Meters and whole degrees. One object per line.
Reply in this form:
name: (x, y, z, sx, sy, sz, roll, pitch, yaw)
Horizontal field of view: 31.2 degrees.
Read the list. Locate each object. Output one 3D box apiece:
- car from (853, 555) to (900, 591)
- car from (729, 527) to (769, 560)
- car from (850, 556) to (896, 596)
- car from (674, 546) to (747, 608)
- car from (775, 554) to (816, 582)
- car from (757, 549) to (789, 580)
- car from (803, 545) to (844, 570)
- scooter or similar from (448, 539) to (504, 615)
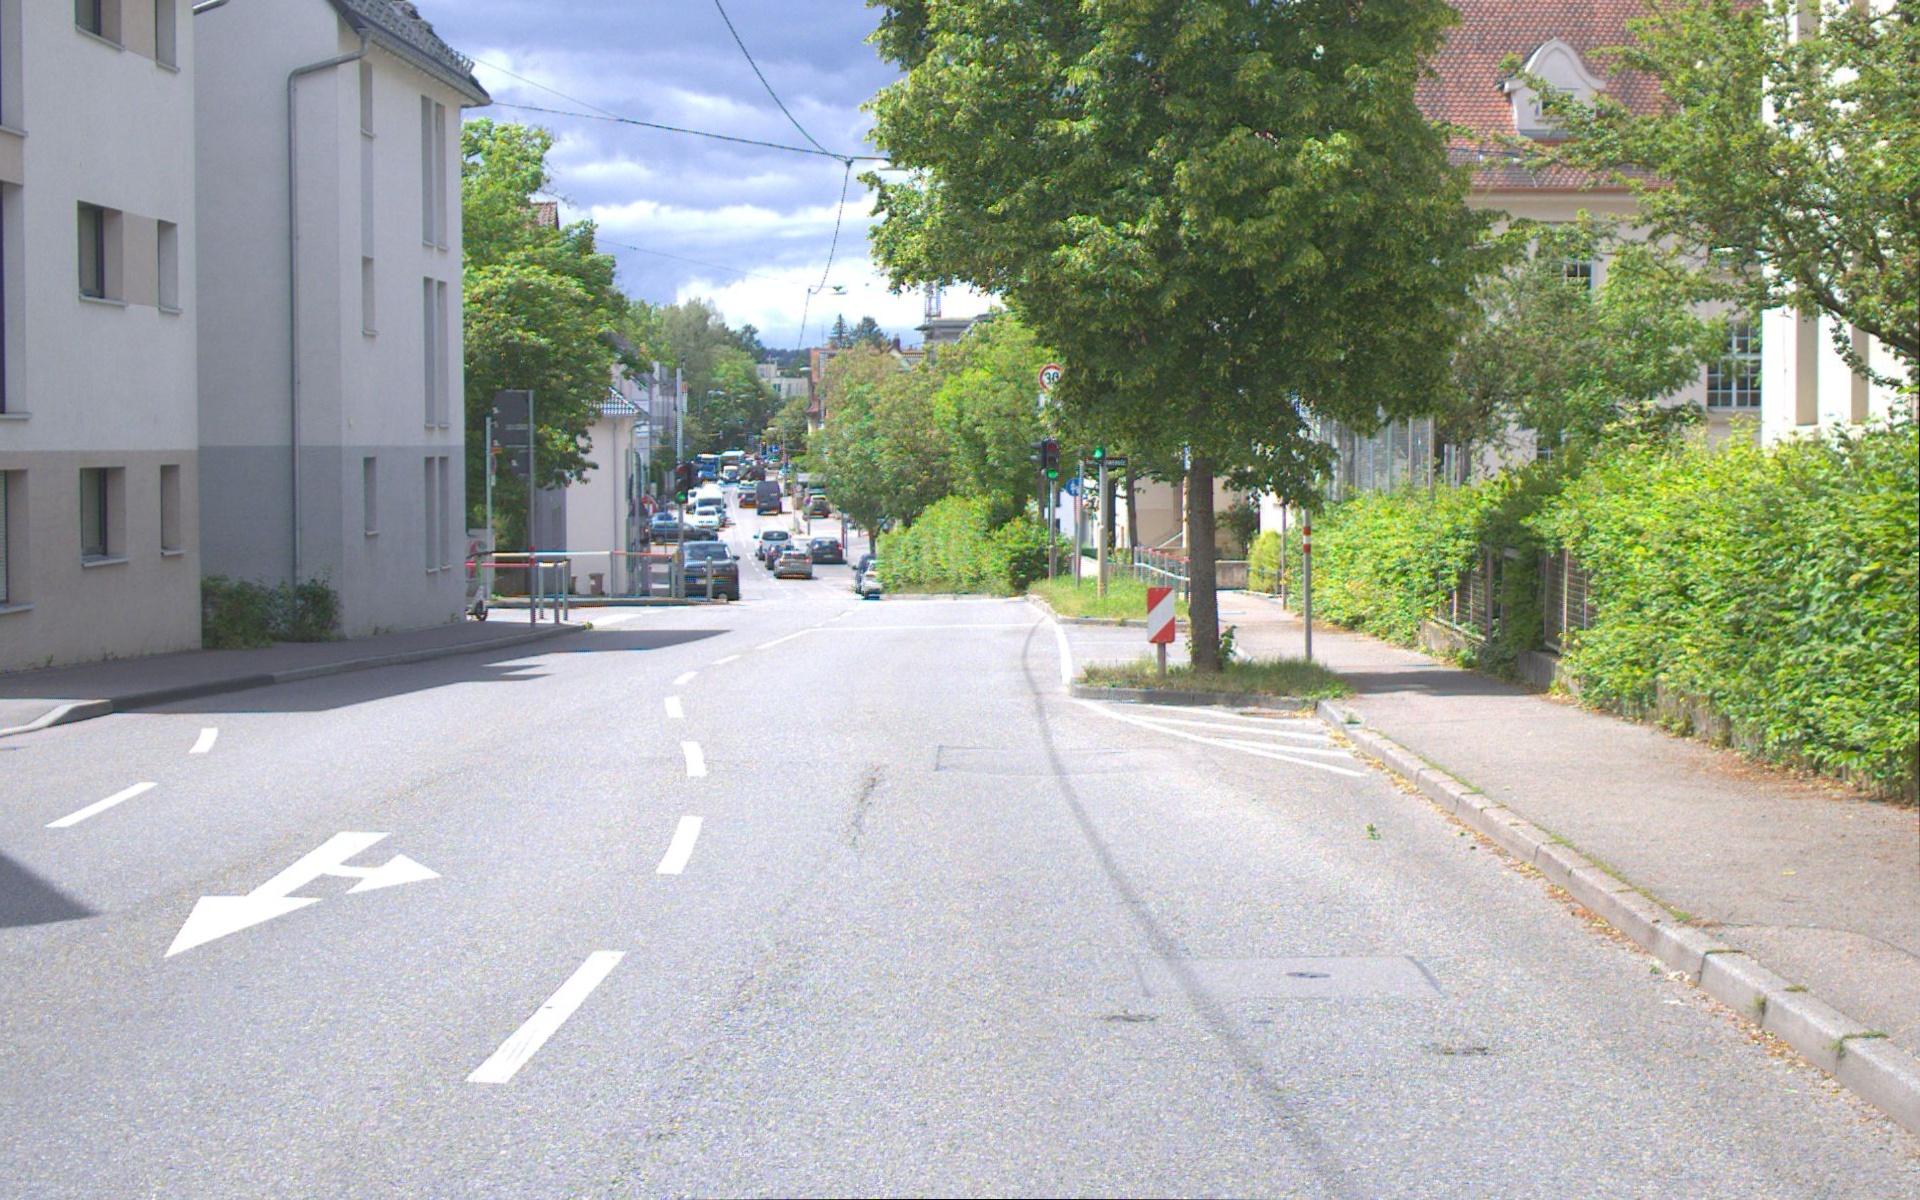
car: (-3.643, -1.178, 149.147, 1.786, 1.504, 4.365, 1, 0, -4)
car: (-12.175, -3.253, 198.451, 1.836, 1.855, 3.851, 1, 1, -10)
car: (-3.927, -1.067, 155.007, 1.844, 1.761, 4.516, 1, 0, -4)
car: (-6.676, -0.634, 92.381, 1.795, 1.605, 4.646, 0, 1, -2)
car: (-8.611, -1.678, 179.735, 1.743, 1.412, 4.001, 0, 1, -9)
car: (-10.294, -1.959, 188.805, 1.273, 1.522, 3.052, -1, 4, -12)
car: (-7.746, -2.435, 195.249, 1.752, 1.366, 4.001, 0, 1, -11)
scooter or similar: (-8.151, -0.389, 57.875, 0.489, 1.257, 1.307, -1, 1, -29)
